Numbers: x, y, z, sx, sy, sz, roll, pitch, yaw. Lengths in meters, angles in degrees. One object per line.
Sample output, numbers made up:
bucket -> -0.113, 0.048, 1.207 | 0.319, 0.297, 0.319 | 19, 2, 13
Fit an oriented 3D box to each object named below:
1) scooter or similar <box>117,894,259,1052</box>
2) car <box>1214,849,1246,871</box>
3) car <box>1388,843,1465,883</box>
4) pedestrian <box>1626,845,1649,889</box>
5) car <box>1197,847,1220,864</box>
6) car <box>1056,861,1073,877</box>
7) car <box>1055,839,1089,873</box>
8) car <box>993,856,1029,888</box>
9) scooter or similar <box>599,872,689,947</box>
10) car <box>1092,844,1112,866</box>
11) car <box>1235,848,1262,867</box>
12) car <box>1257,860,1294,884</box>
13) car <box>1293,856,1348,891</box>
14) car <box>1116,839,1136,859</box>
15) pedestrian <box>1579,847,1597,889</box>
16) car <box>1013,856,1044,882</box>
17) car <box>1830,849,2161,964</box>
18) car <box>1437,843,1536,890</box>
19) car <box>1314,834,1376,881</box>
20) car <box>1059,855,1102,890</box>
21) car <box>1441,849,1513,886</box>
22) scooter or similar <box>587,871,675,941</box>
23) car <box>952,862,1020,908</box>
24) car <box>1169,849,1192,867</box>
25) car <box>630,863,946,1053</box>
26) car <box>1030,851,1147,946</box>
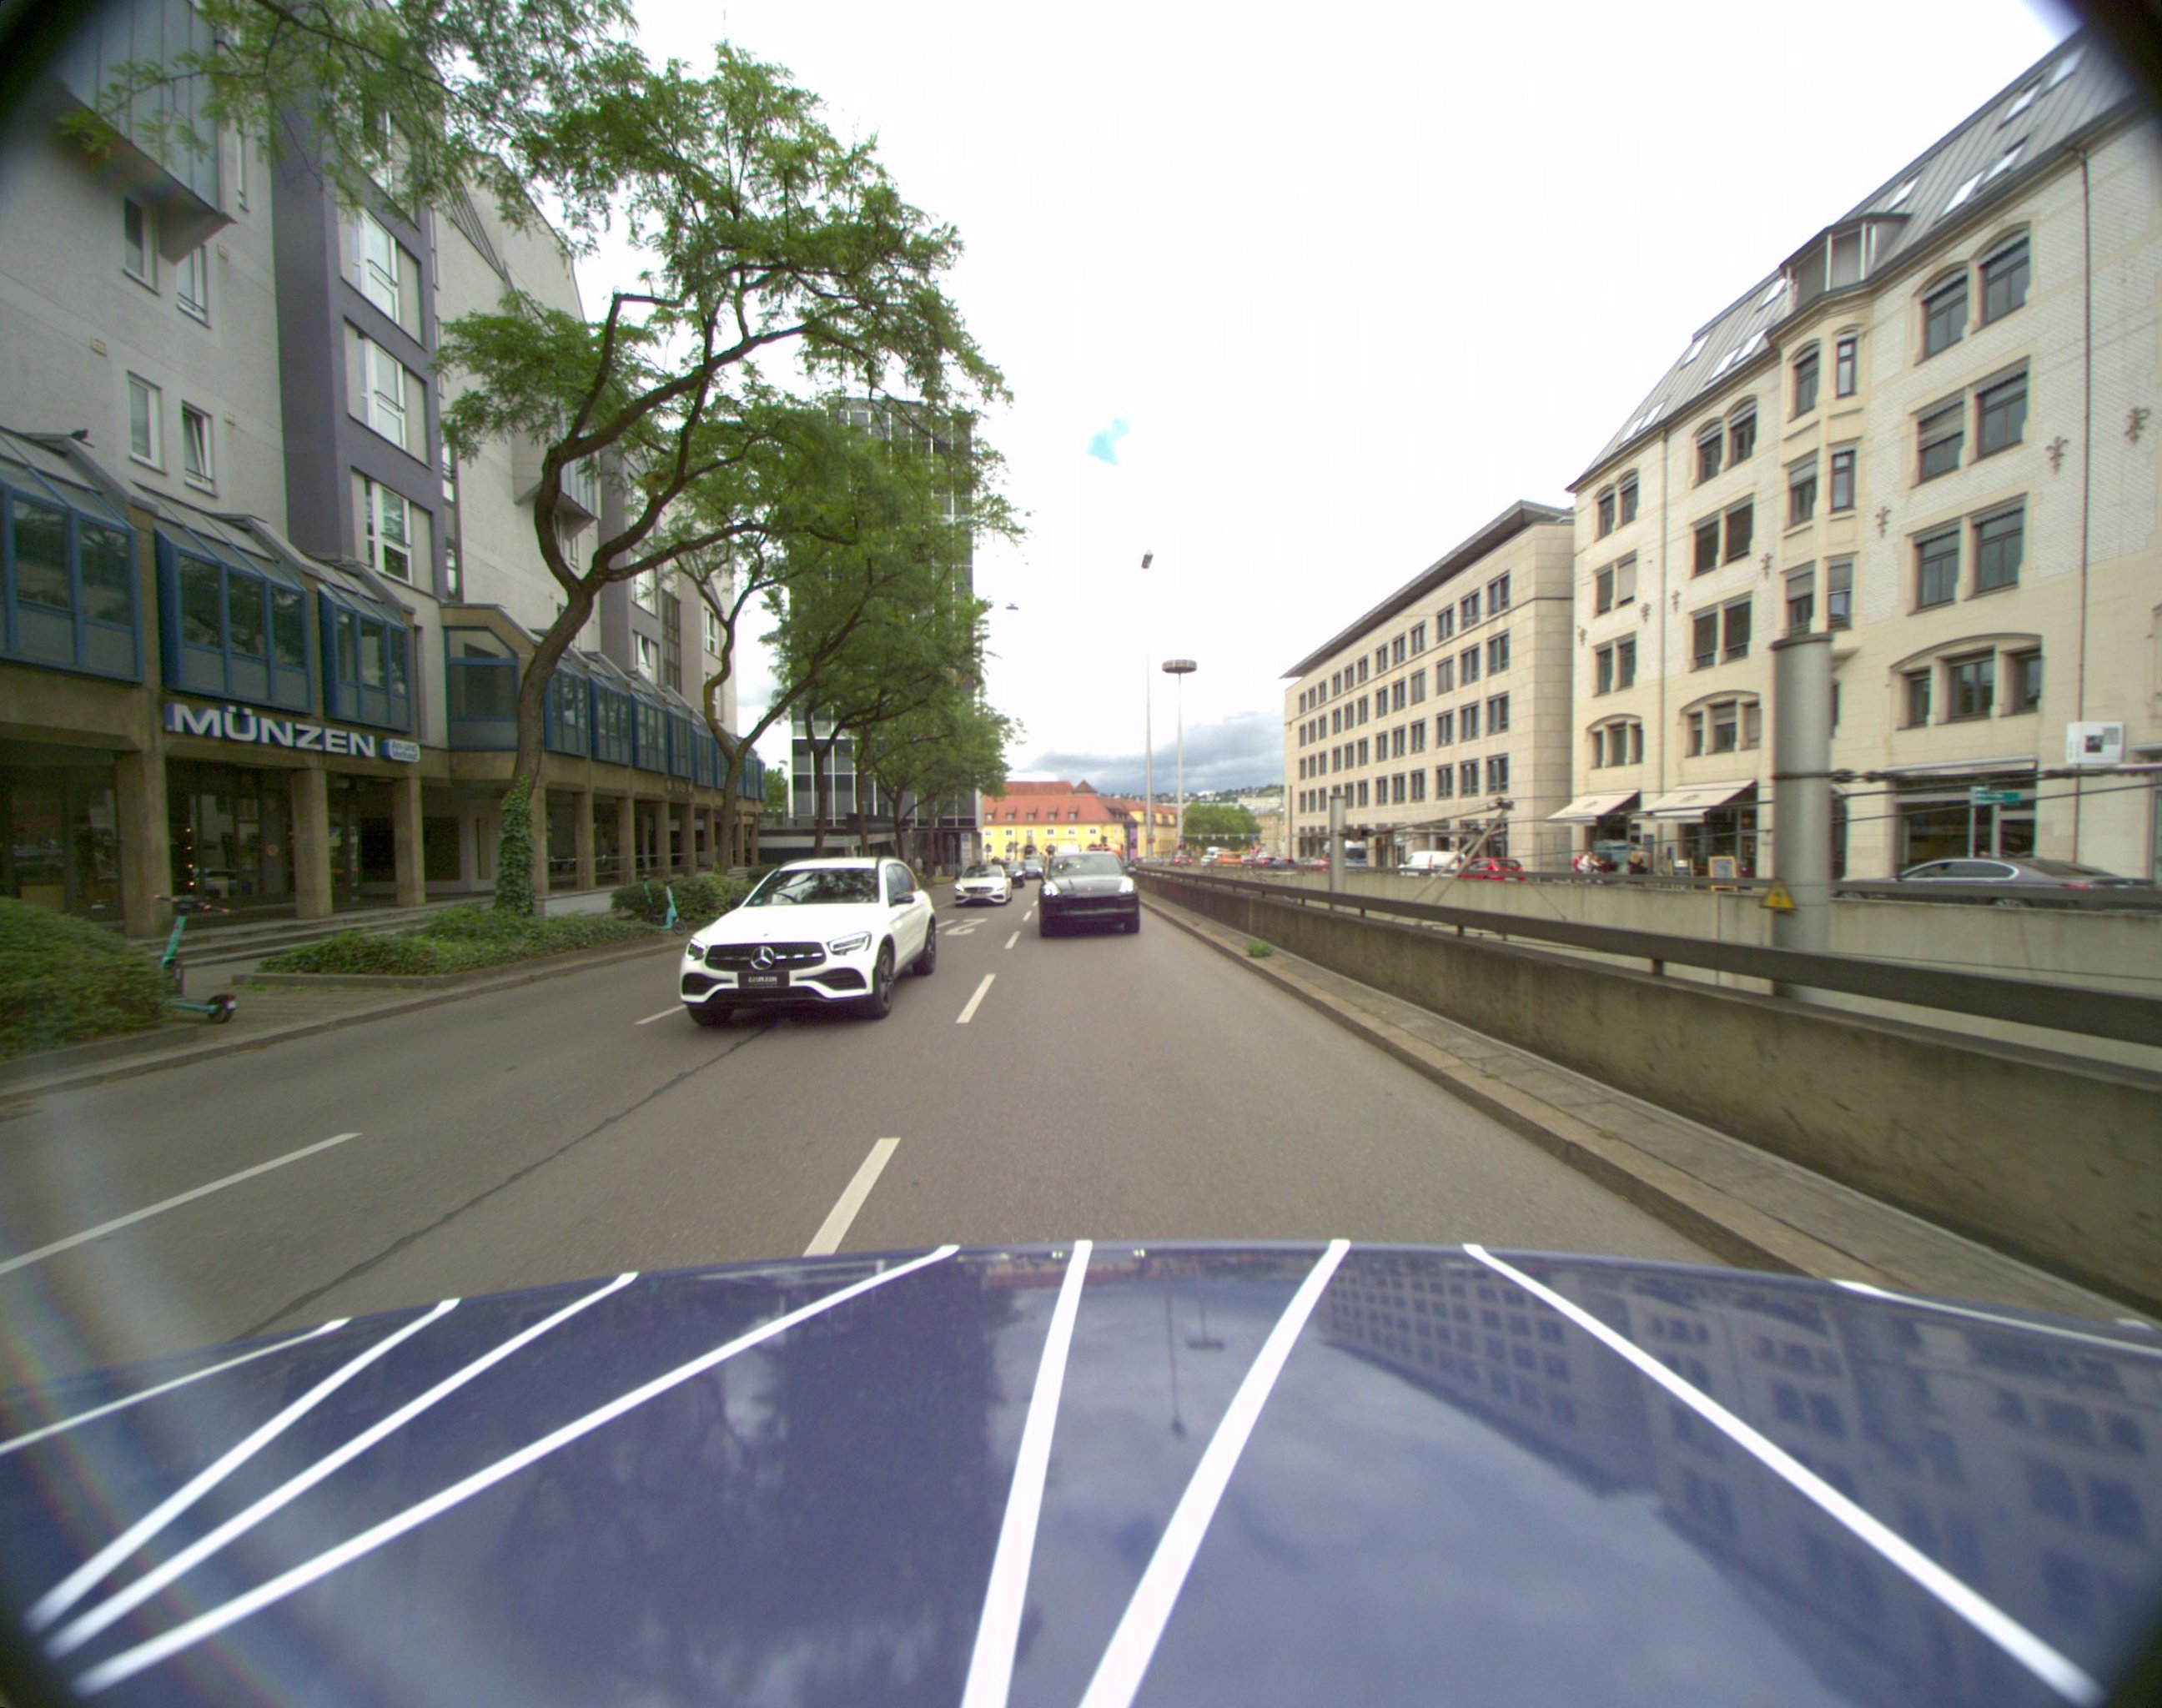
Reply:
scooter or similar -> -8.839, 1.131, 7.522 | 1.180, 1.426, 0.577 | -2, 1, 26
car -> 14.742, 0.520, 75.426 | 2.115, 2.002, 4.789 | -2, 1, -1
car -> 18.909, 0.446, 41.831 | 1.999, 2.002, 4.789 | -2, 1, -1
pedestrian -> 22.570, 0.511, 30.822 | 0.576, 1.769, 0.511 | -1, 1, 6
car -> 14.924, 0.182, 88.984 | 1.998, 2.002, 4.000 | 0, 0, 1
car -> -1.966, 1.724, 90.728 | 1.890, 1.674, 4.609 | -2, 1, -1
car -> -0.710, 0.136, 66.314 | 2.293, 2.723, 4.755 | -2, 1, 7
car -> -3.857, 0.985, 42.512 | 1.640, 1.602, 3.659 | -2, 1, -1
scooter or similar -> -9.081, 1.118, 15.818 | 1.536, 1.426, 0.686 | -3, 1, -31
car -> 2.852, 0.152, 102.530 | 2.503, 2.793, 5.727 | -2, 1, 1
car -> 17.832, 0.339, 80.964 | 1.998, 2.002, 4.000 | 0, 0, 1
car -> 17.600, 1.584, 68.913 | 1.999, 2.002, 4.789 | -2, 1, -1
car -> 15.507, 1.217, 49.431 | 1.999, 2.002, 4.789 | -2, 1, -1
car -> 6.385, -0.721, 107.598 | 2.503, 2.793, 5.727 | -2, 1, 1
pedestrian -> 21.226, 0.579, 31.808 | 0.510, 1.769, 0.578 | -1, 1, 23
car -> -3.652, 1.017, 53.611 | 1.890, 1.674, 4.609 | -2, 1, -1
car -> 19.367, 0.945, 16.211 | 1.999, 2.002, 4.789 | -2, 1, -1
car -> 18.924, 0.513, 35.730 | 1.999, 2.002, 4.789 | -2, 1, -1
car -> 18.707, 0.213, 54.074 | 2.370, 3.043, 5.468 | -2, 1, -1
car -> 0.007, 0.863, 37.688 | 1.949, 1.521, 4.000 | -2, 1, 1
car -> 22.609, 0.756, 43.562 | 1.999, 2.002, 3.999 | 0, 0, -1
scooter or similar -> -10.041, 1.130, 16.999 | 1.600, 1.426, 0.731 | -3, 1, -31
car -> -3.360, 1.061, 27.722 | 1.890, 1.378, 4.609 | -2, 1, -1
car -> 10.917, 0.423, 83.486 | 1.998, 2.002, 4.000 | 0, 0, 1
car -> -2.933, 0.942, 8.672 | 2.060, 1.598, 3.927 | -2, -1, -1
car -> 0.108, 0.829, 16.661 | 2.088, 1.665, 5.351 | -2, 0, -1
